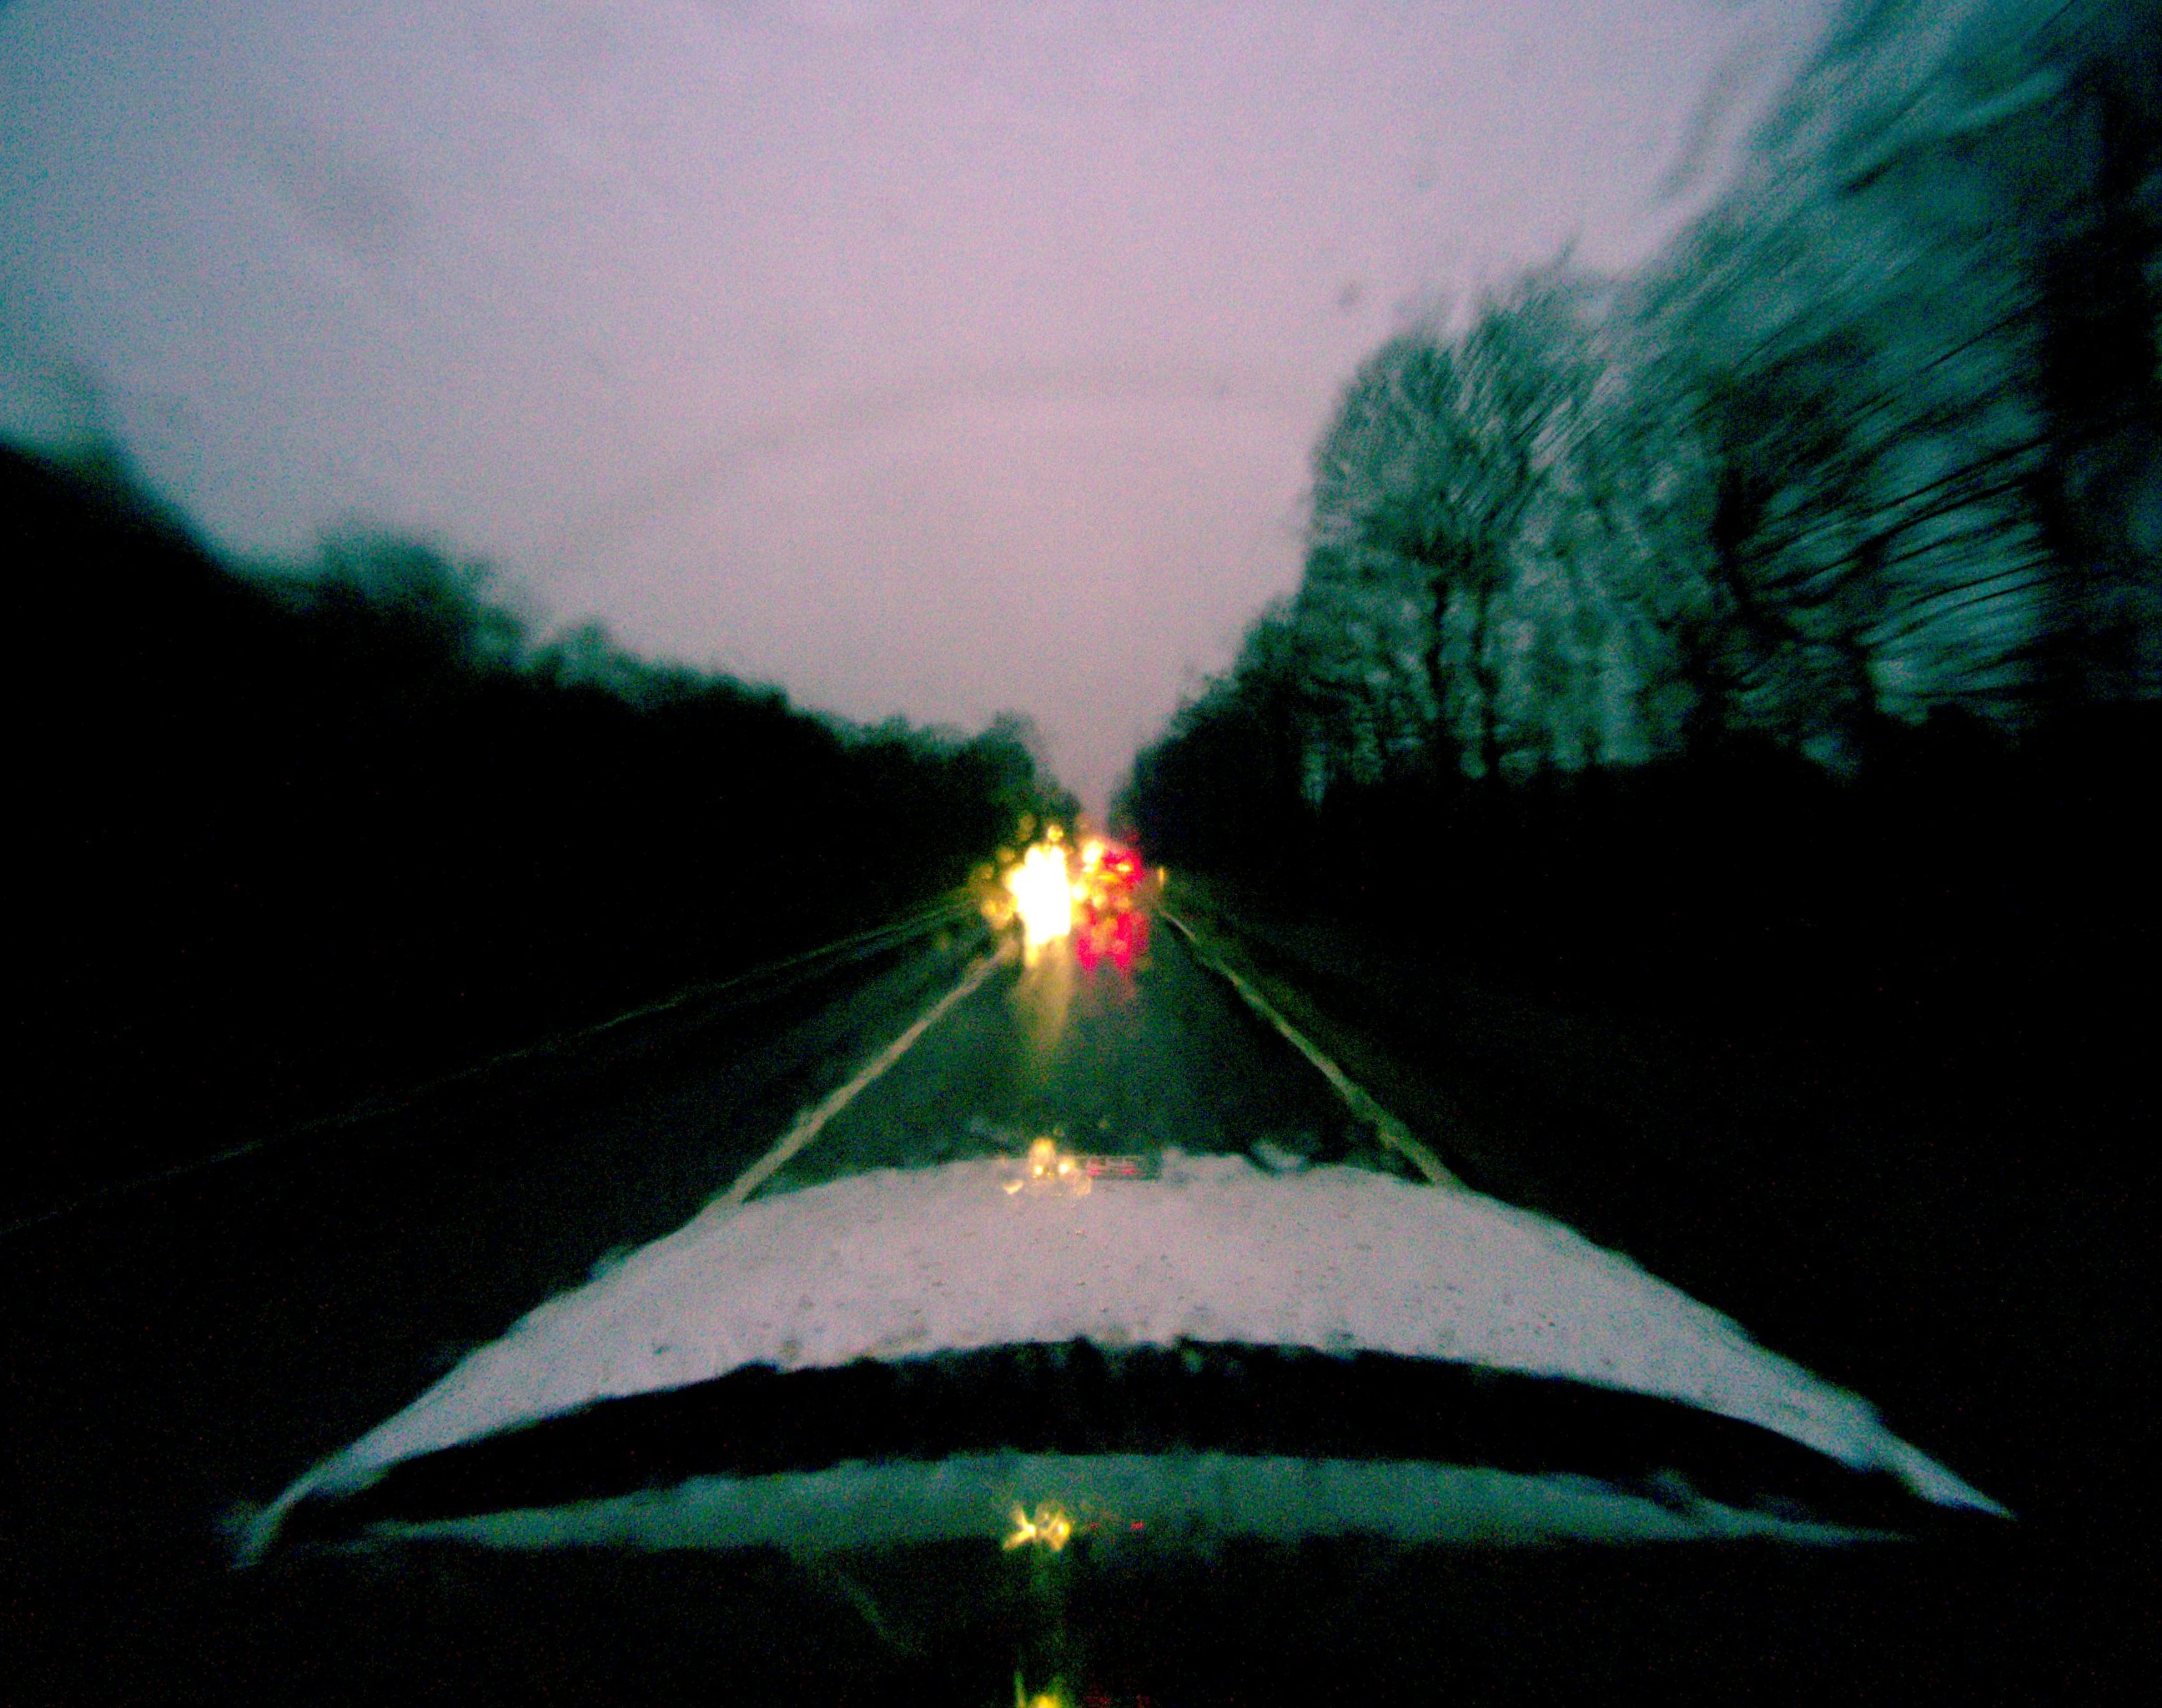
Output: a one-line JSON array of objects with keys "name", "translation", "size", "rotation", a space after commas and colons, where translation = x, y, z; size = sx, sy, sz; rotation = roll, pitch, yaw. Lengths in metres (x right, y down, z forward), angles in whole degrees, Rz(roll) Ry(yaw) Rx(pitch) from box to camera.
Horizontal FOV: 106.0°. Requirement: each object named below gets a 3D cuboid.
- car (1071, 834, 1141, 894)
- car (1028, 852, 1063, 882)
[{"name": "car", "translation": [0.853, 0.296, 28.108], "size": [2.190, 1.877, 4.828], "rotation": [0, 0, 1]}, {"name": "car", "translation": [-2.017, 0.708, 47.018], "size": [1.743, 1.552, 3.993], "rotation": [-2, 0, 0]}]
